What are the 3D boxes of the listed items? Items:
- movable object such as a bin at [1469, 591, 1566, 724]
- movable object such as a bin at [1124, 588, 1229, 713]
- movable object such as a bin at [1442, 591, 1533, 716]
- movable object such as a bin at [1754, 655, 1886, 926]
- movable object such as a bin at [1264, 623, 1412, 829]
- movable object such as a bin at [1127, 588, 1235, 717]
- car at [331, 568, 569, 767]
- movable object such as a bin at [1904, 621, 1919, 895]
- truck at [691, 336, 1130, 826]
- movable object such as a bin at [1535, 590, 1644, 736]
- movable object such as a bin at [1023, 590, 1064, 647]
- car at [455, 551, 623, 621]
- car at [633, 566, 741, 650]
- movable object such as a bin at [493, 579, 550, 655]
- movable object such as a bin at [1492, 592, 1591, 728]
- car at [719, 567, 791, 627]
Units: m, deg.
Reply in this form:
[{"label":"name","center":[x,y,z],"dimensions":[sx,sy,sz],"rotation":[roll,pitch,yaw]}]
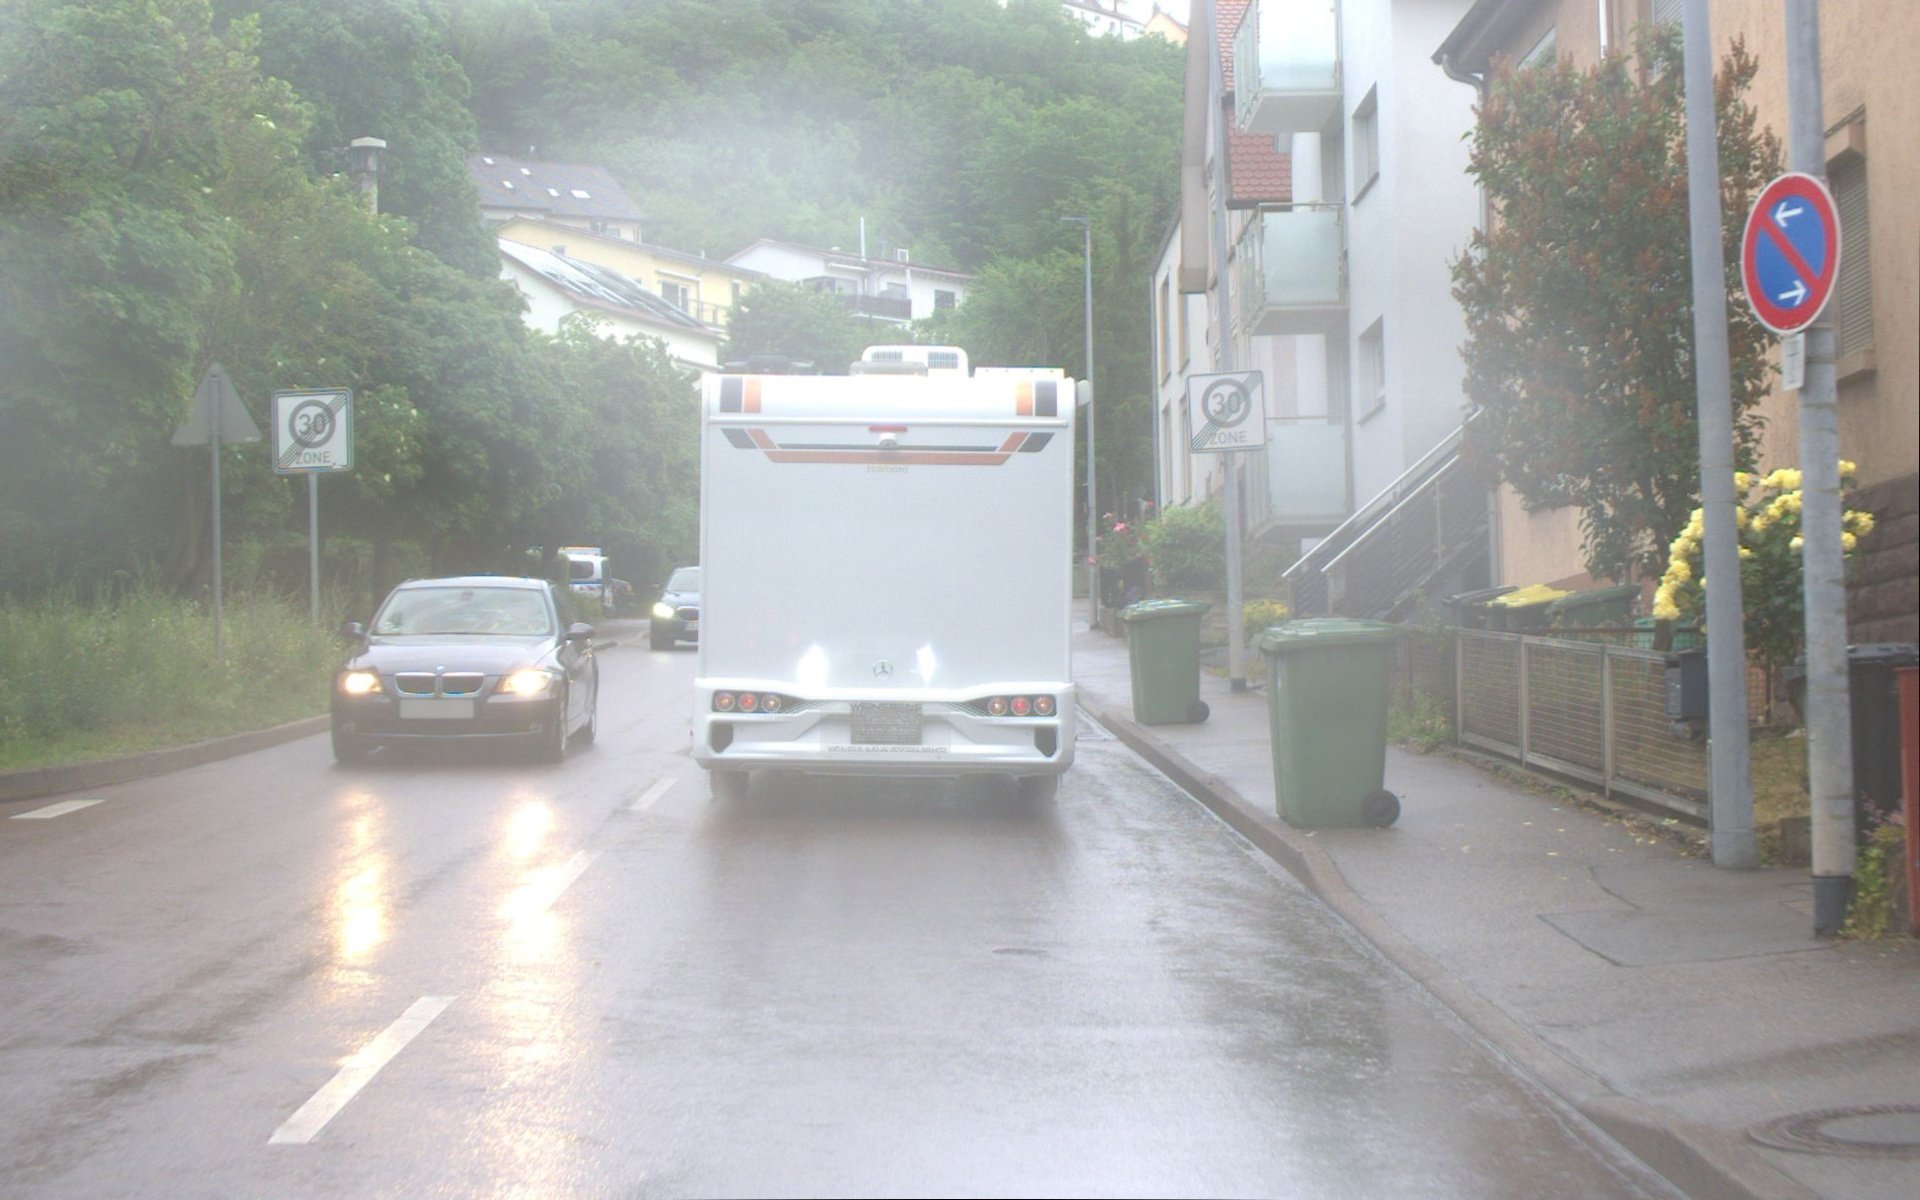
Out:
[{"label":"movable object such as a bin","center":[4.826,0.493,29.794],"dimensions":[0.660,1.089,0.545],"rotation":[-4,1,-2]},{"label":"movable object such as a bin","center":[1.928,0.443,30.695],"dimensions":[0.914,1.099,0.702],"rotation":[0,0,2]},{"label":"movable object such as a bin","center":[4.848,0.486,31.613],"dimensions":[0.660,1.089,0.545],"rotation":[-4,1,-2]},{"label":"movable object such as a bin","center":[3.321,0.729,13.295],"dimensions":[0.379,1.015,0.487],"rotation":[0,0,0]},{"label":"movable object such as a bin","center":[1.985,0.652,18.140],"dimensions":[0.720,1.048,0.800],"rotation":[0,0,2]},{"label":"movable object such as a bin","center":[1.920,0.451,29.947],"dimensions":[0.914,1.099,0.702],"rotation":[0,0,2]},{"label":"car","center":[-3.978,0.479,27.292],"dimensions":[1.560,1.449,4.085],"rotation":[0,1,-4]},{"label":"movable object such as a bin","center":[4.056,0.608,13.099],"dimensions":[0.609,1.073,0.792],"rotation":[-4,1,-3]},{"label":"truck","center":[-0.336,-0.139,22.856],"dimensions":[2.515,2.808,6.202],"rotation":[0,1,-1]},{"label":"movable object such as a bin","center":[4.975,0.491,27.185],"dimensions":[0.660,1.089,0.656],"rotation":[-3,1,-2]},{"label":"movable object such as a bin","center":[1.337,0.289,55.020],"dimensions":[0.630,0.894,0.712],"rotation":[0,0,0]},{"label":"car","center":[-10.990,-0.375,89.995],"dimensions":[4.106,1.794,2.000],"rotation":[0,1,2]},{"label":"car","center":[-4.762,0.122,60.401],"dimensions":[1.719,1.425,3.845],"rotation":[0,1,-2]},{"label":"movable object such as a bin","center":[-6.462,0.248,50.708],"dimensions":[0.720,1.096,0.757],"rotation":[1,0,0]},{"label":"movable object such as a bin","center":[4.926,0.501,29.141],"dimensions":[0.644,1.089,0.545],"rotation":[-4,1,-2]},{"label":"car","center":[-4.978,-0.088,83.888],"dimensions":[1.618,1.436,3.737],"rotation":[0,1,-1]}]
